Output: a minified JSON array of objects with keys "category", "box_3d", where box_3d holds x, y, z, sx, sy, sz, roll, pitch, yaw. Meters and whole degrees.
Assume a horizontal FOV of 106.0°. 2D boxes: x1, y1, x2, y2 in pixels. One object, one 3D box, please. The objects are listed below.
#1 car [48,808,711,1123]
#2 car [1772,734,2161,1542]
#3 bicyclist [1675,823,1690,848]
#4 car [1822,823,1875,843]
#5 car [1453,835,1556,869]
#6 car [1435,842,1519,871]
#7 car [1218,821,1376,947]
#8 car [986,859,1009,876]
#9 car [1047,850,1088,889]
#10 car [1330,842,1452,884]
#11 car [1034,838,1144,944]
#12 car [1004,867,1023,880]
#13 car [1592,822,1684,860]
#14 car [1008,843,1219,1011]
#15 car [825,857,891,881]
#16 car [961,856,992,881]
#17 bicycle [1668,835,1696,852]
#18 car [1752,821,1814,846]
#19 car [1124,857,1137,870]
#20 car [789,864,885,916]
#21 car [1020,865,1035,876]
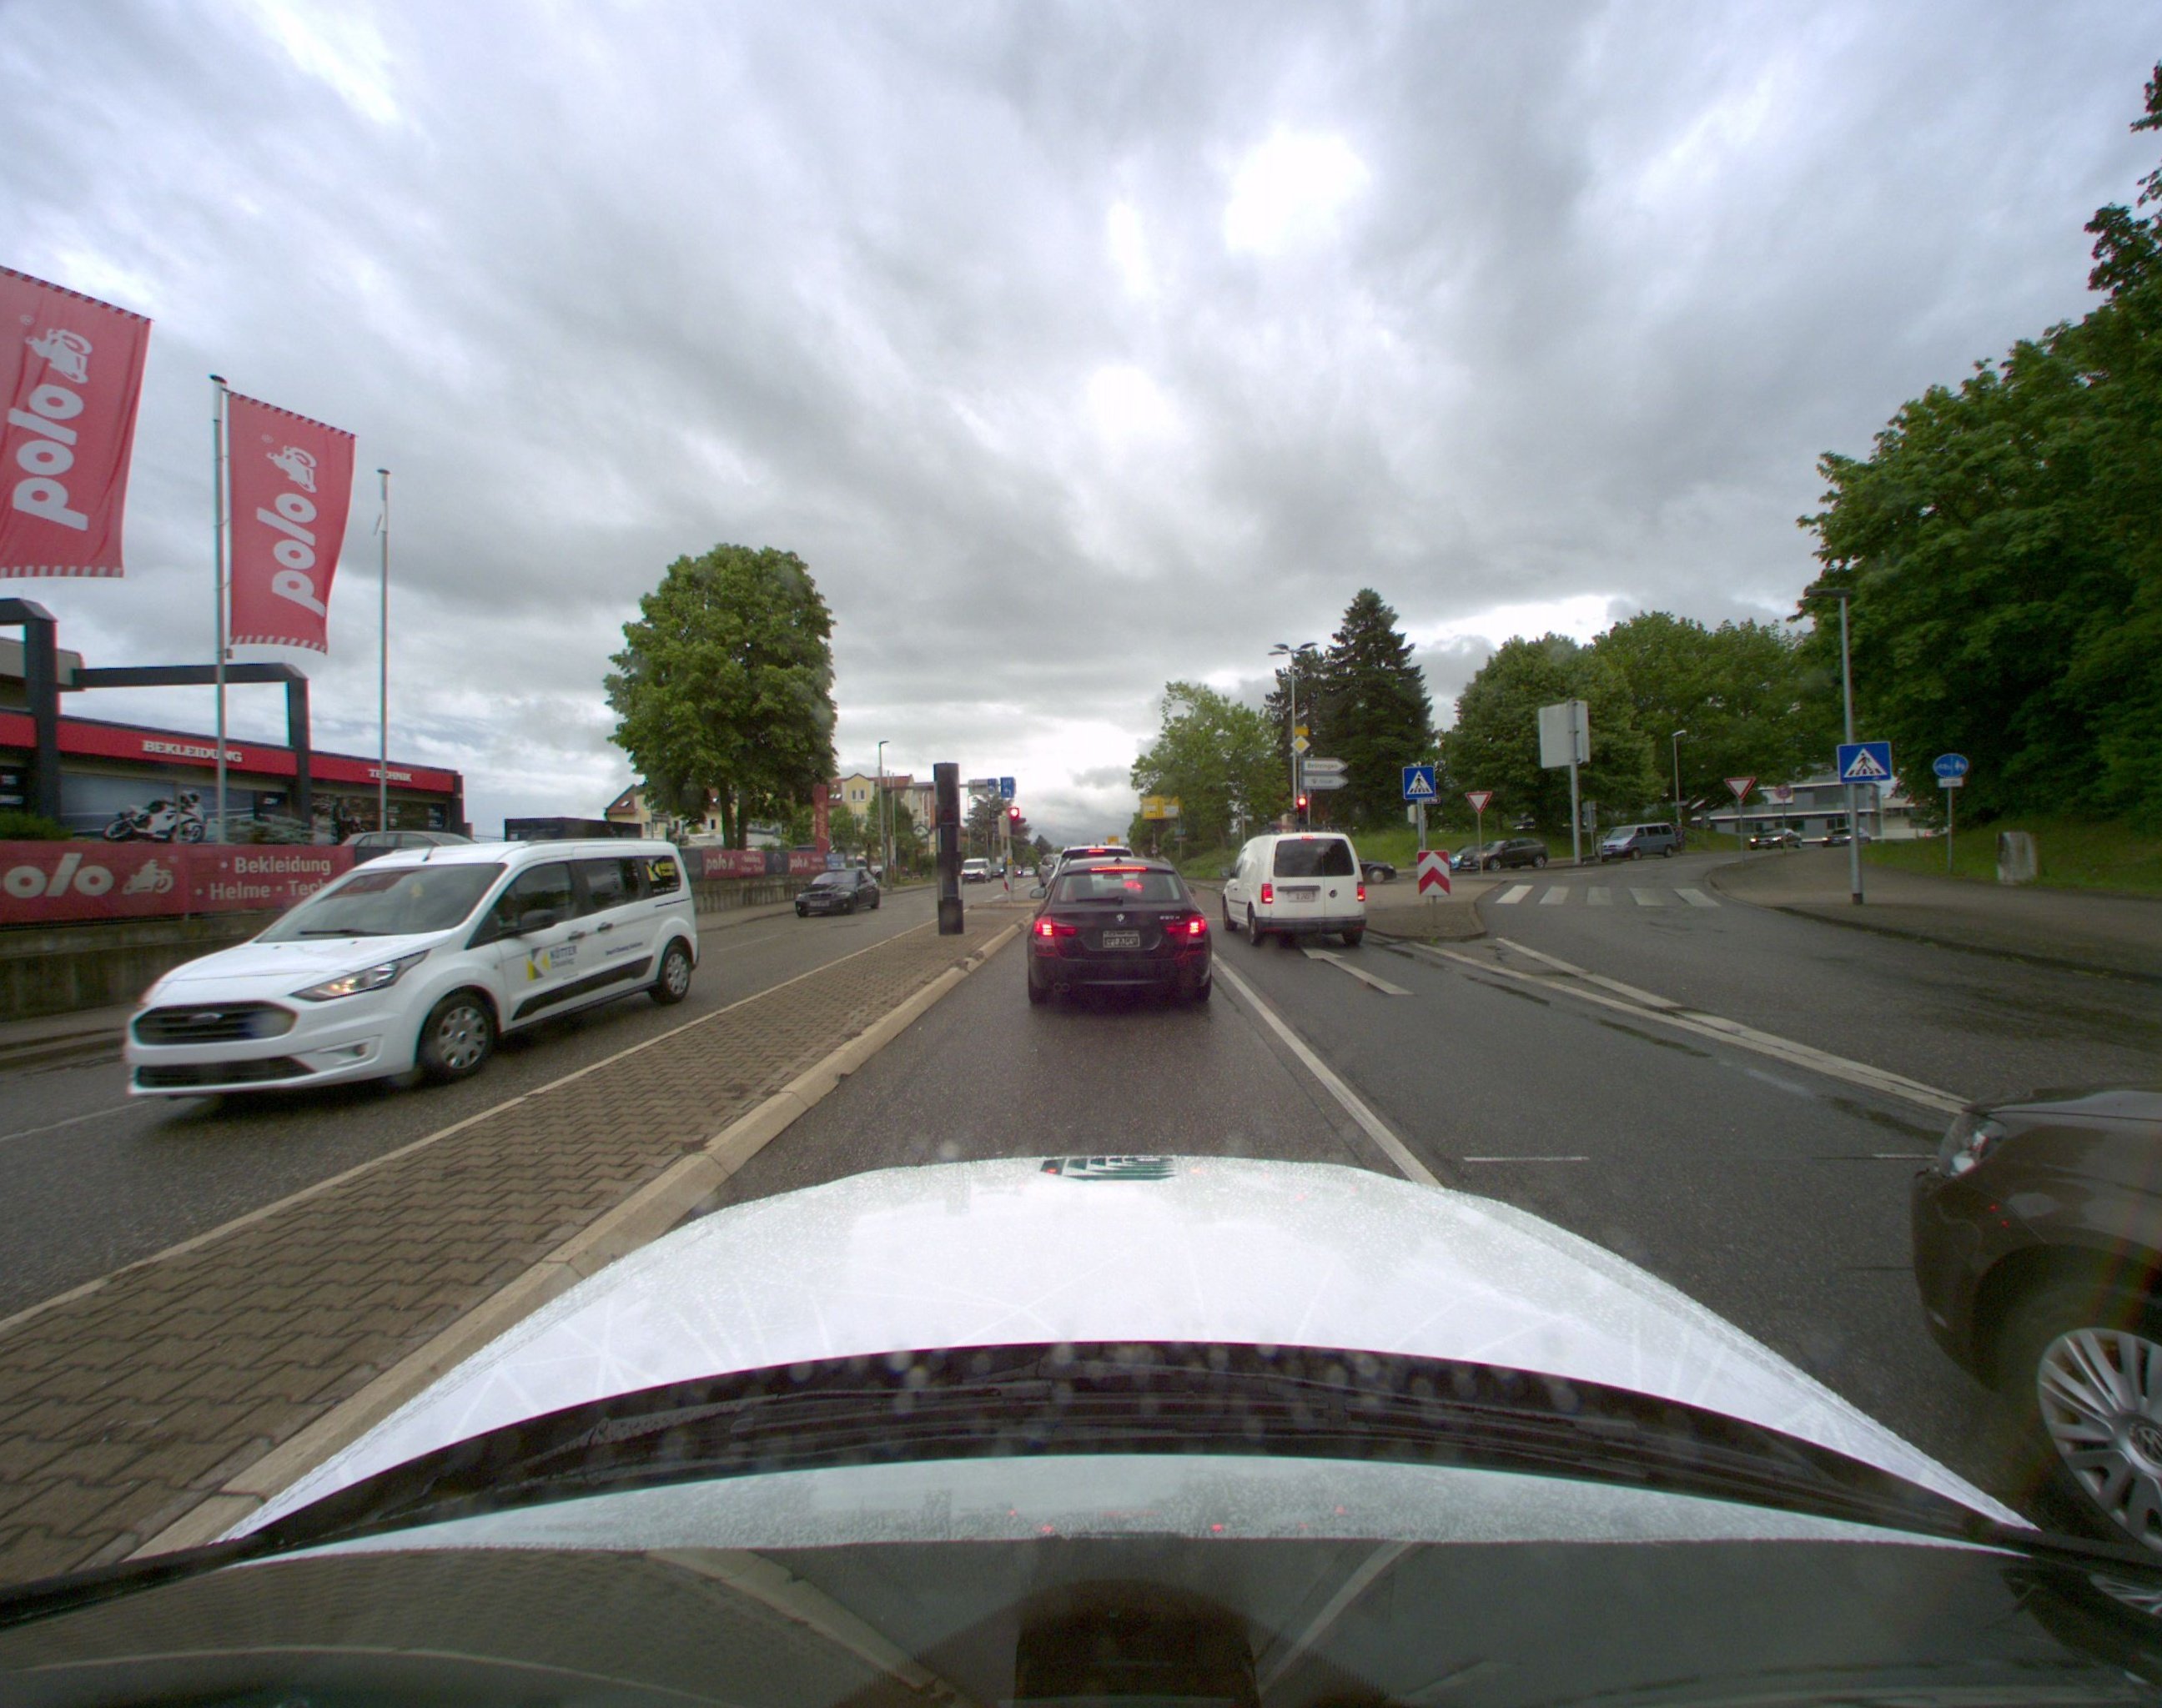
[{"category":"car","box_3d":[-5.379,0.693,7.322,1.851,1.823,4.579,-4,0,0]},{"category":"car","box_3d":[2.956,0.573,0.453,1.708,1.596,4.132,-1,1,1]},{"category":"bicyclist","box_3d":[35.346,-1.087,47.843,0.563,1.489,0.451,-2,0,-26]},{"category":"car","box_3d":[56.210,-1.518,59.631,4.016,1.321,1.938,-2,0,-34]},{"category":"car","box_3d":[21.059,-0.118,40.531,4.321,1.467,1.893,-2,0,-13]},{"category":"car","box_3d":[21.271,0.128,43.758,3.996,1.293,1.600,-3,1,-16]},{"category":"car","box_3d":[3.565,0.456,14.163,1.735,1.869,3.946,-1,0,1]},{"category":"car","box_3d":[-7.711,1.237,75.219,1.662,1.354,3.444,-2,0,1]},{"category":"car","box_3d":[-0.604,0.707,39.276,1.728,1.691,4.001,-2,0,1]},{"category":"car","box_3d":[12.055,0.335,31.857,4.069,1.456,1.901,-2,0,1]},{"category":"car","box_3d":[0.263,0.596,15.025,1.720,1.711,3.388,-1,0,5]},{"category":"car","box_3d":[-7.710,2.238,93.211,1.662,1.354,3.444,-2,0,1]},{"category":"car","box_3d":[29.554,-0.721,43.227,4.750,1.851,1.885,-2,2,-25]},{"category":"car","box_3d":[0.447,0.622,9.154,1.846,1.419,3.962,-1,2,5]},{"category":"car","box_3d":[-15.797,1.025,57.602,4.215,1.455,1.785,-2,0,-26]},{"category":"car","box_3d":[-7.609,1.021,59.452,1.662,1.670,3.684,-2,0,2]},{"category":"bicycle","box_3d":[35.253,-0.614,47.776,1.753,0.953,0.574,-2,0,-26]},{"category":"car","box_3d":[44.667,-1.321,51.777,4.014,1.447,1.821,-2,0,-32]},{"category":"car","box_3d":[6.459,1.213,105.685,1.593,1.371,3.684,-2,2,4]},{"category":"car","box_3d":[-7.630,1.090,25.894,1.662,1.382,4.073,-2,0,2]},{"category":"car","box_3d":[-7.282,2.173,110.614,1.662,1.354,3.444,-2,0,1]}]
